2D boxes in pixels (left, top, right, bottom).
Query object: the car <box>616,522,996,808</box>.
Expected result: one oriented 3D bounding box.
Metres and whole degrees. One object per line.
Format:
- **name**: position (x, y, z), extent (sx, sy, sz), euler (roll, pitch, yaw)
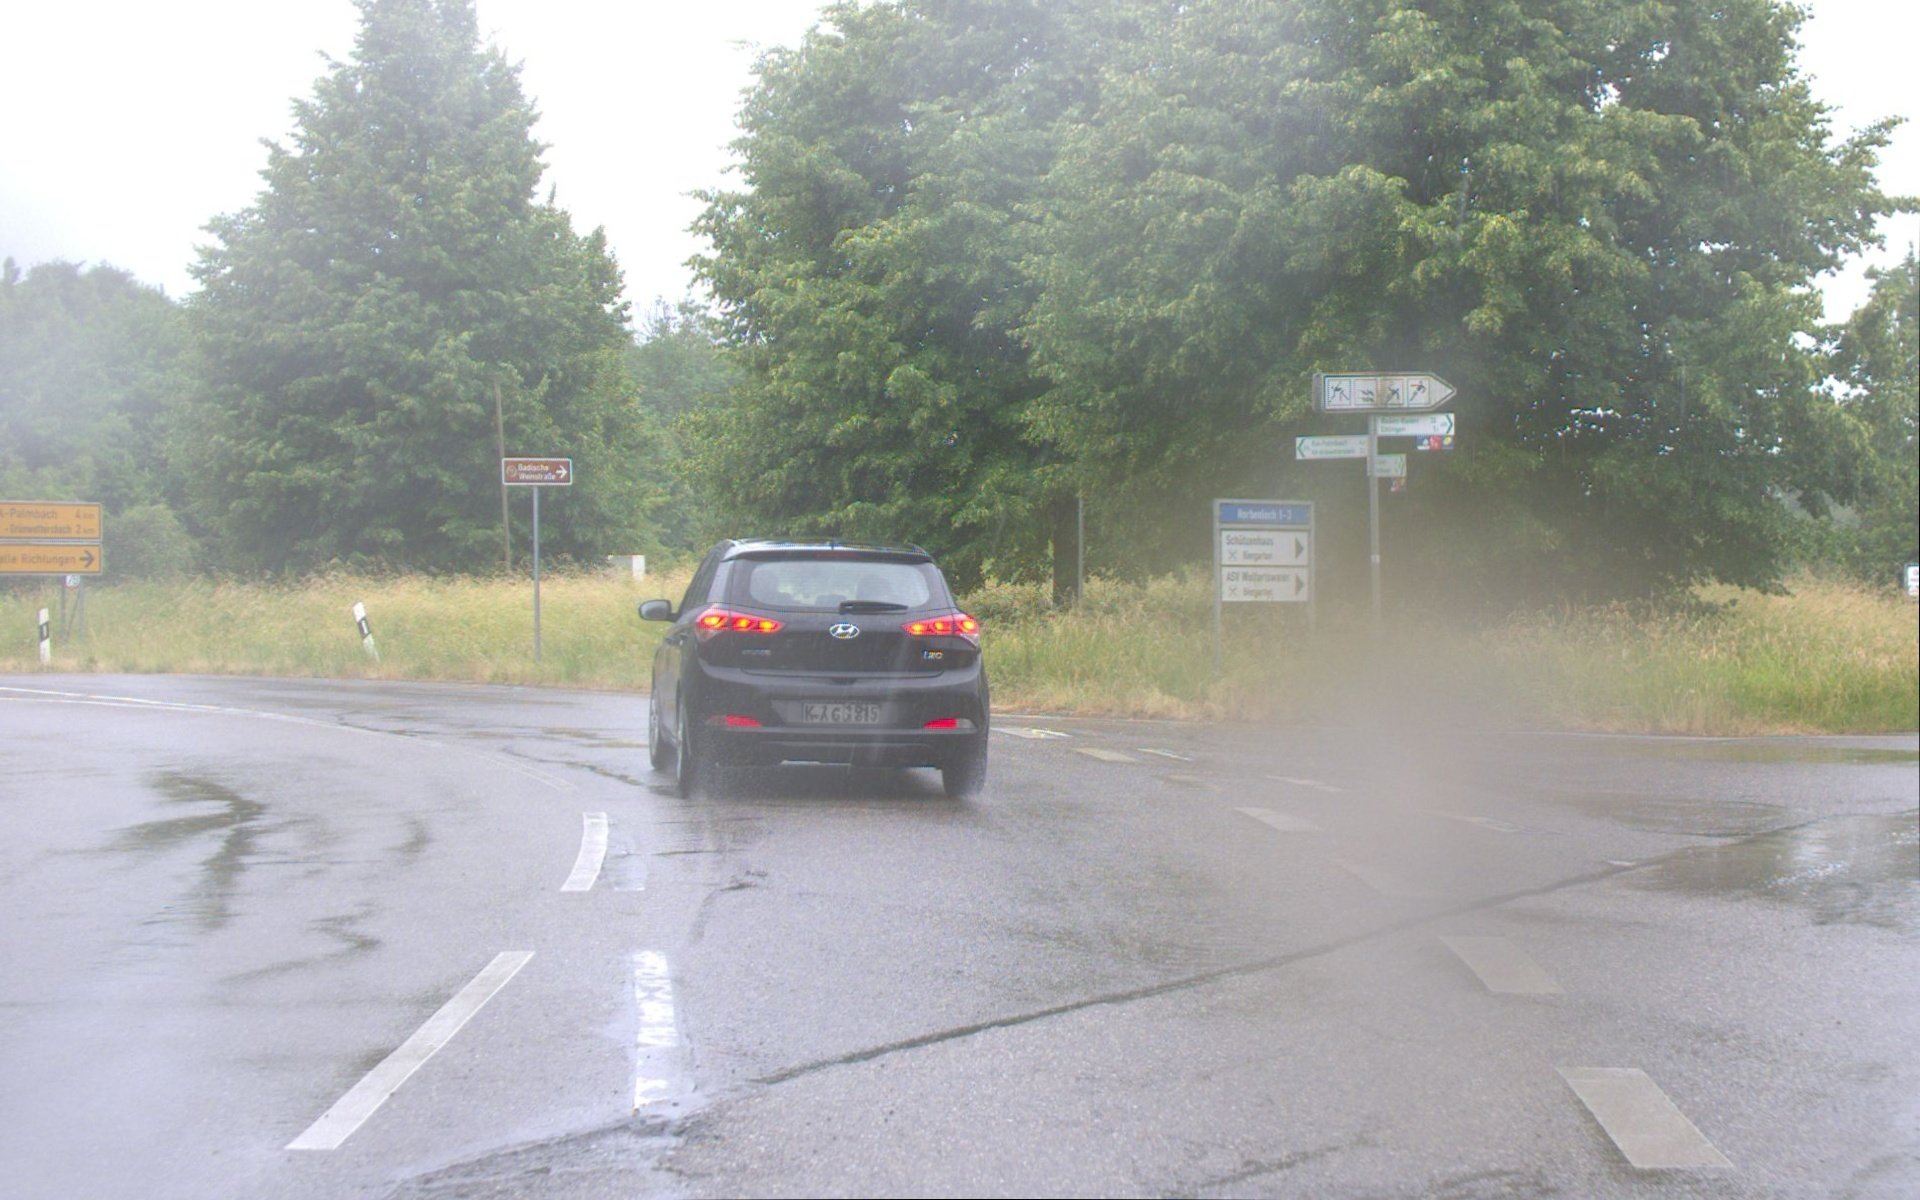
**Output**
- **car**: position (-0.982, 0.339, 20.358), extent (1.993, 1.482, 4.001), euler (1, 0, -5)
